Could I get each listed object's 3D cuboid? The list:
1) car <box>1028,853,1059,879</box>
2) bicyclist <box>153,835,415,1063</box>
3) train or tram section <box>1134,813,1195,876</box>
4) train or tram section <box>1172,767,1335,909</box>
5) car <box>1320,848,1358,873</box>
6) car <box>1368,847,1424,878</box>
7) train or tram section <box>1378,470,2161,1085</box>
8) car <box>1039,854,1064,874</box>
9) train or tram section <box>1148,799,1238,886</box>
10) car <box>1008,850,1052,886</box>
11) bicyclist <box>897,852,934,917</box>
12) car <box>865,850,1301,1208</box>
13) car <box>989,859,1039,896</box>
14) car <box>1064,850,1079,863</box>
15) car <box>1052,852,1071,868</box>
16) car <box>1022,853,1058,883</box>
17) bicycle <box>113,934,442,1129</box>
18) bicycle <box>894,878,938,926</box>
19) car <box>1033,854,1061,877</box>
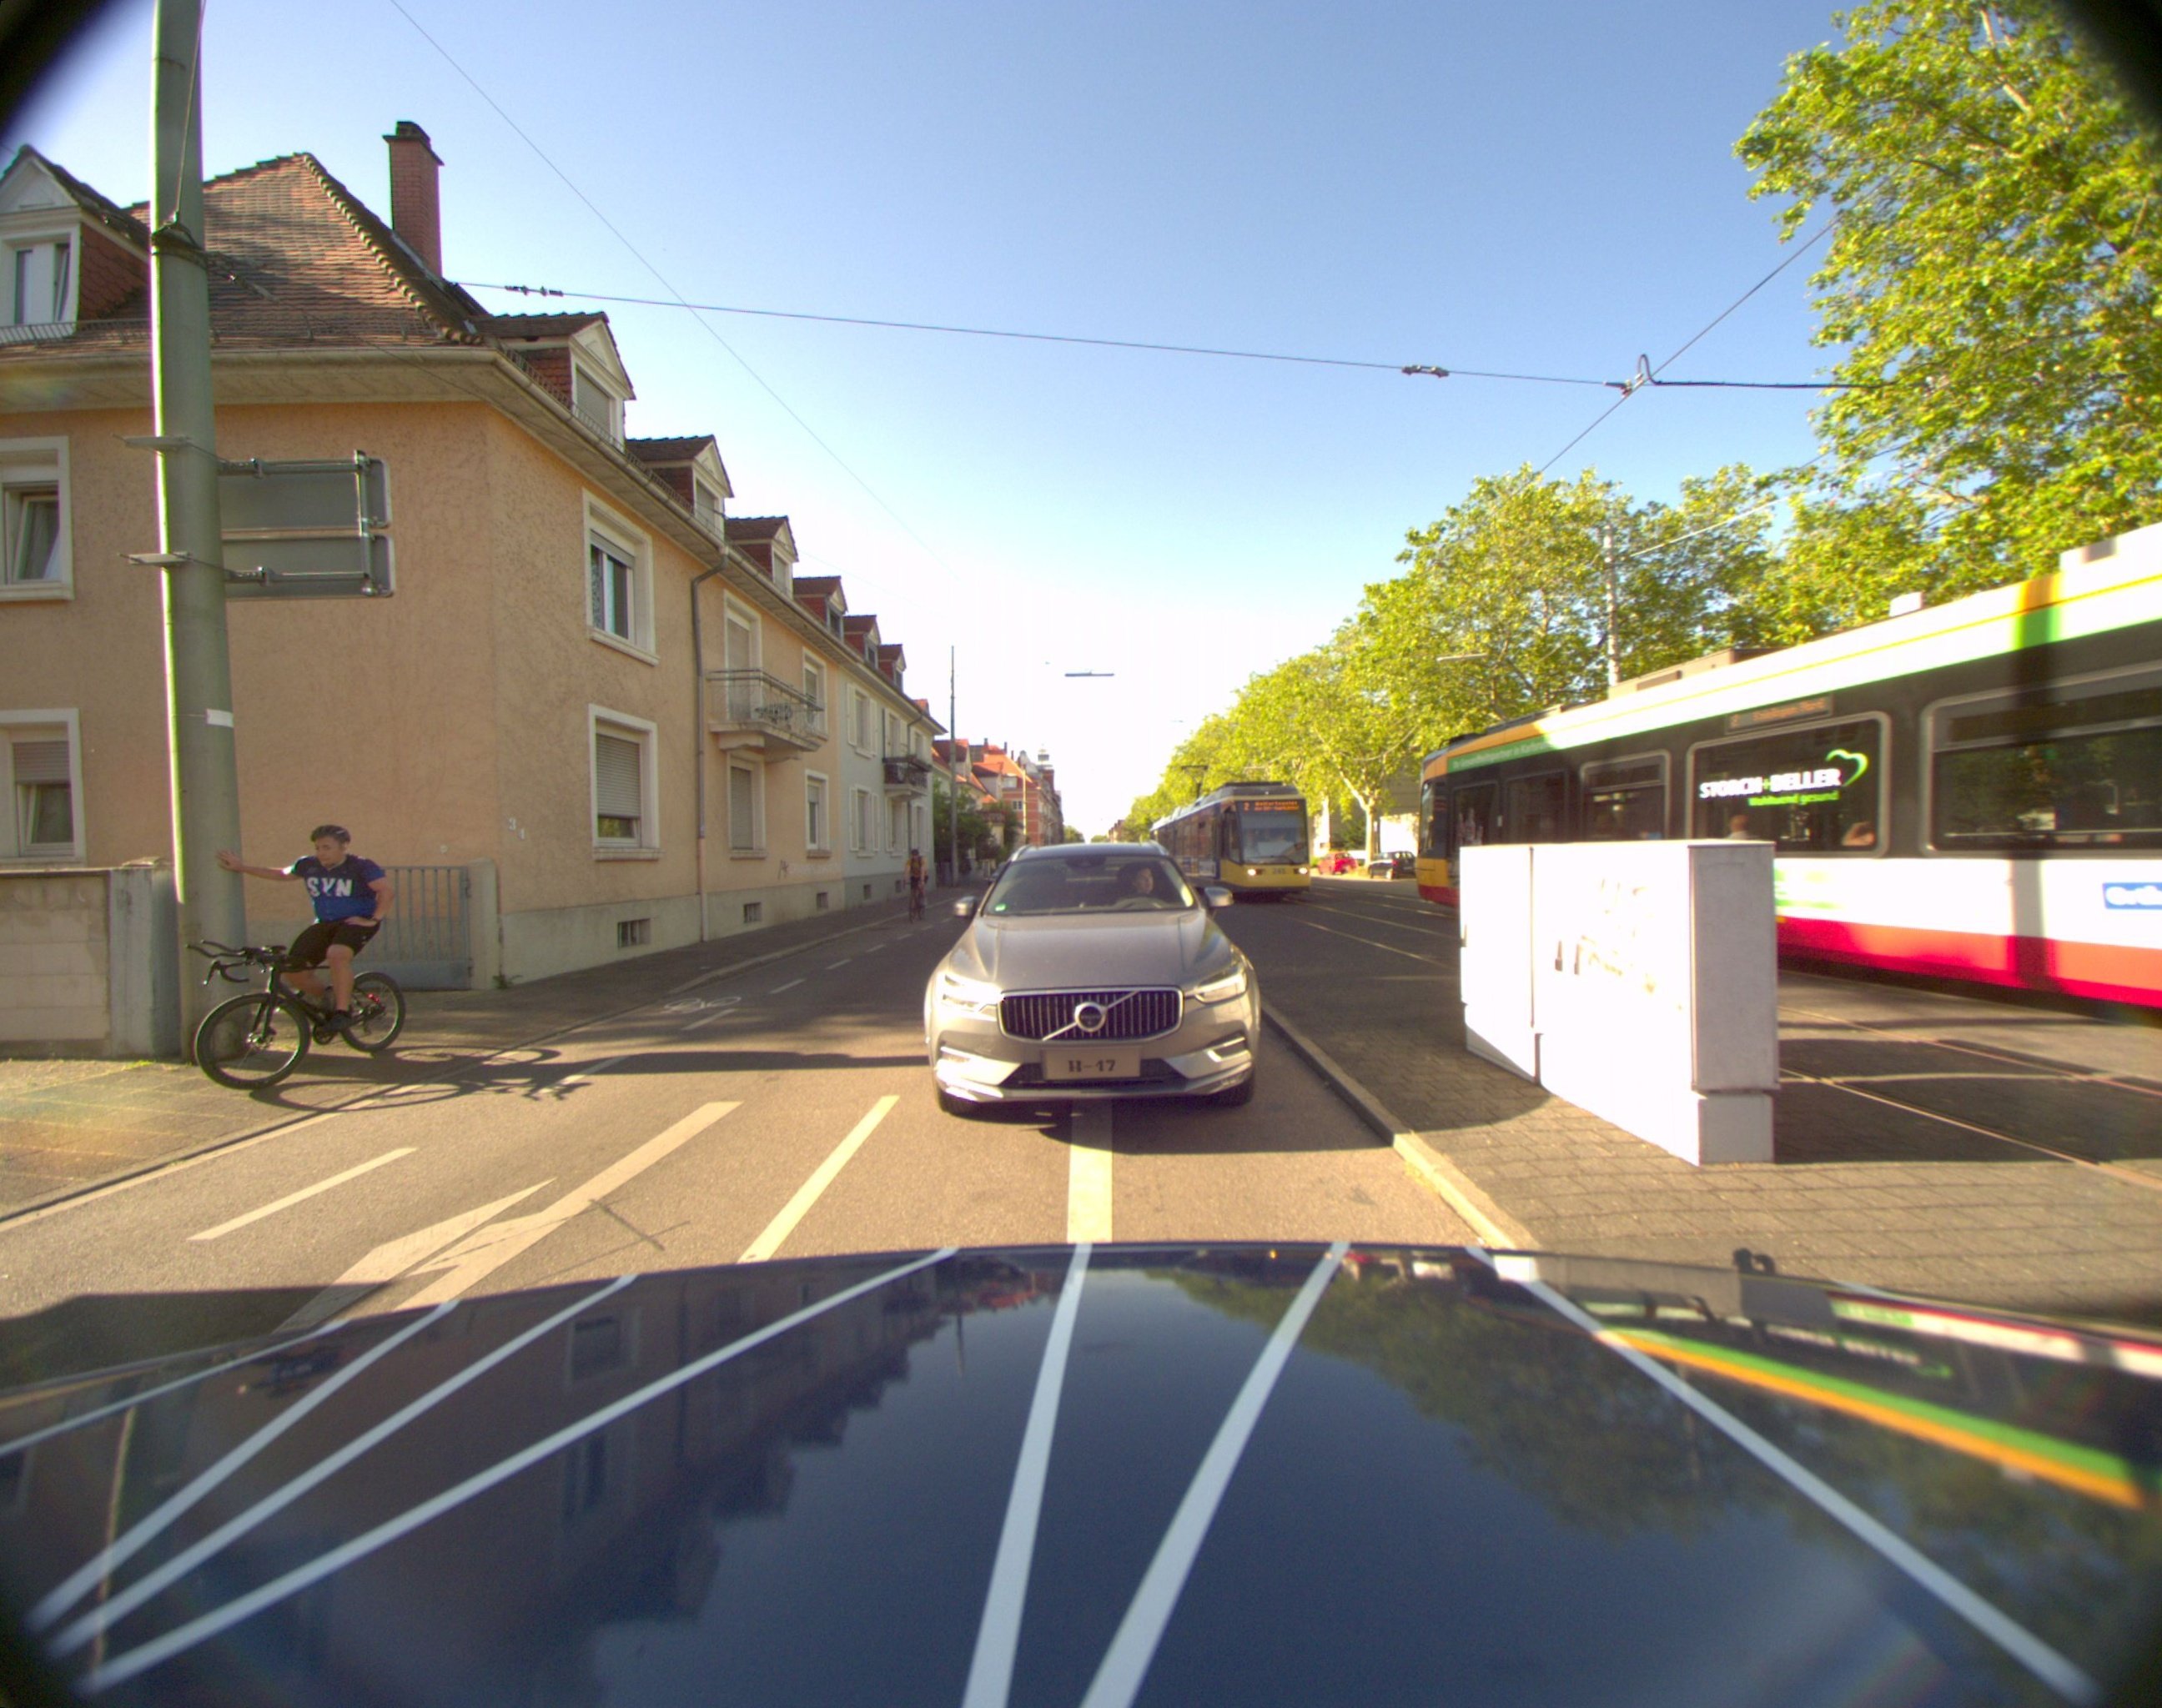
[{"bbox_3d":[-2.622,0.833,54.010,1.793,1.673,3.814,-3,0,2],"label":"car"},{"bbox_3d":[-6.212,0.696,5.994,1.051,1.599,0.885,4,0,1],"label":"bicyclist"},{"bbox_3d":[5.374,-0.595,51.346,2.717,3.643,12.653,-1,0,0],"label":"train or tram section"},{"bbox_3d":[5.247,-0.452,26.110,2.717,3.643,12.653,-1,0,0],"label":"train or tram section"},{"bbox_3d":[16.887,0.431,49.871,1.599,1.498,2.622,-3,0,1],"label":"car"},{"bbox_3d":[16.895,0.424,40.900,1.599,1.498,3.304,-3,0,1],"label":"car"},{"bbox_3d":[8.044,-0.516,9.907,2.940,3.791,13.051,-1,0,-1],"label":"train or tram section"},{"bbox_3d":[-2.541,0.857,67.079,1.793,1.673,3.814,-3,0,2],"label":"car"},{"bbox_3d":[5.318,-0.526,38.729,2.717,3.643,12.653,-1,0,0],"label":"train or tram section"},{"bbox_3d":[-2.814,0.740,42.824,1.793,1.828,5.149,-3,0,2],"label":"car"},{"bbox_3d":[-4.263,0.761,19.655,0.685,1.611,0.855,-2,1,1],"label":"bicyclist"},{"bbox_3d":[0.040,0.827,5.758,1.998,1.628,4.306,-2,0,1],"label":"car"},{"bbox_3d":[-3.213,1.083,37.051,1.695,1.571,3.815,-3,0,5],"label":"car"},{"bbox_3d":[-1.283,0.361,107.107,1.793,1.673,3.814,-3,0,2],"label":"car"},{"bbox_3d":[-2.140,0.632,85.374,1.793,1.673,3.814,-3,0,2],"label":"car"},{"bbox_3d":[-2.575,0.852,48.489,1.793,1.673,3.814,-3,0,2],"label":"car"},{"bbox_3d":[-6.022,1.260,5.874,0.592,1.062,1.775,4,0,1],"label":"bicycle"},{"bbox_3d":[-4.254,1.212,19.687,0.685,1.098,1.806,-2,1,1],"label":"bicycle"},{"bbox_3d":[-2.710,0.884,61.034,1.793,1.673,3.814,-3,0,2],"label":"car"}]
